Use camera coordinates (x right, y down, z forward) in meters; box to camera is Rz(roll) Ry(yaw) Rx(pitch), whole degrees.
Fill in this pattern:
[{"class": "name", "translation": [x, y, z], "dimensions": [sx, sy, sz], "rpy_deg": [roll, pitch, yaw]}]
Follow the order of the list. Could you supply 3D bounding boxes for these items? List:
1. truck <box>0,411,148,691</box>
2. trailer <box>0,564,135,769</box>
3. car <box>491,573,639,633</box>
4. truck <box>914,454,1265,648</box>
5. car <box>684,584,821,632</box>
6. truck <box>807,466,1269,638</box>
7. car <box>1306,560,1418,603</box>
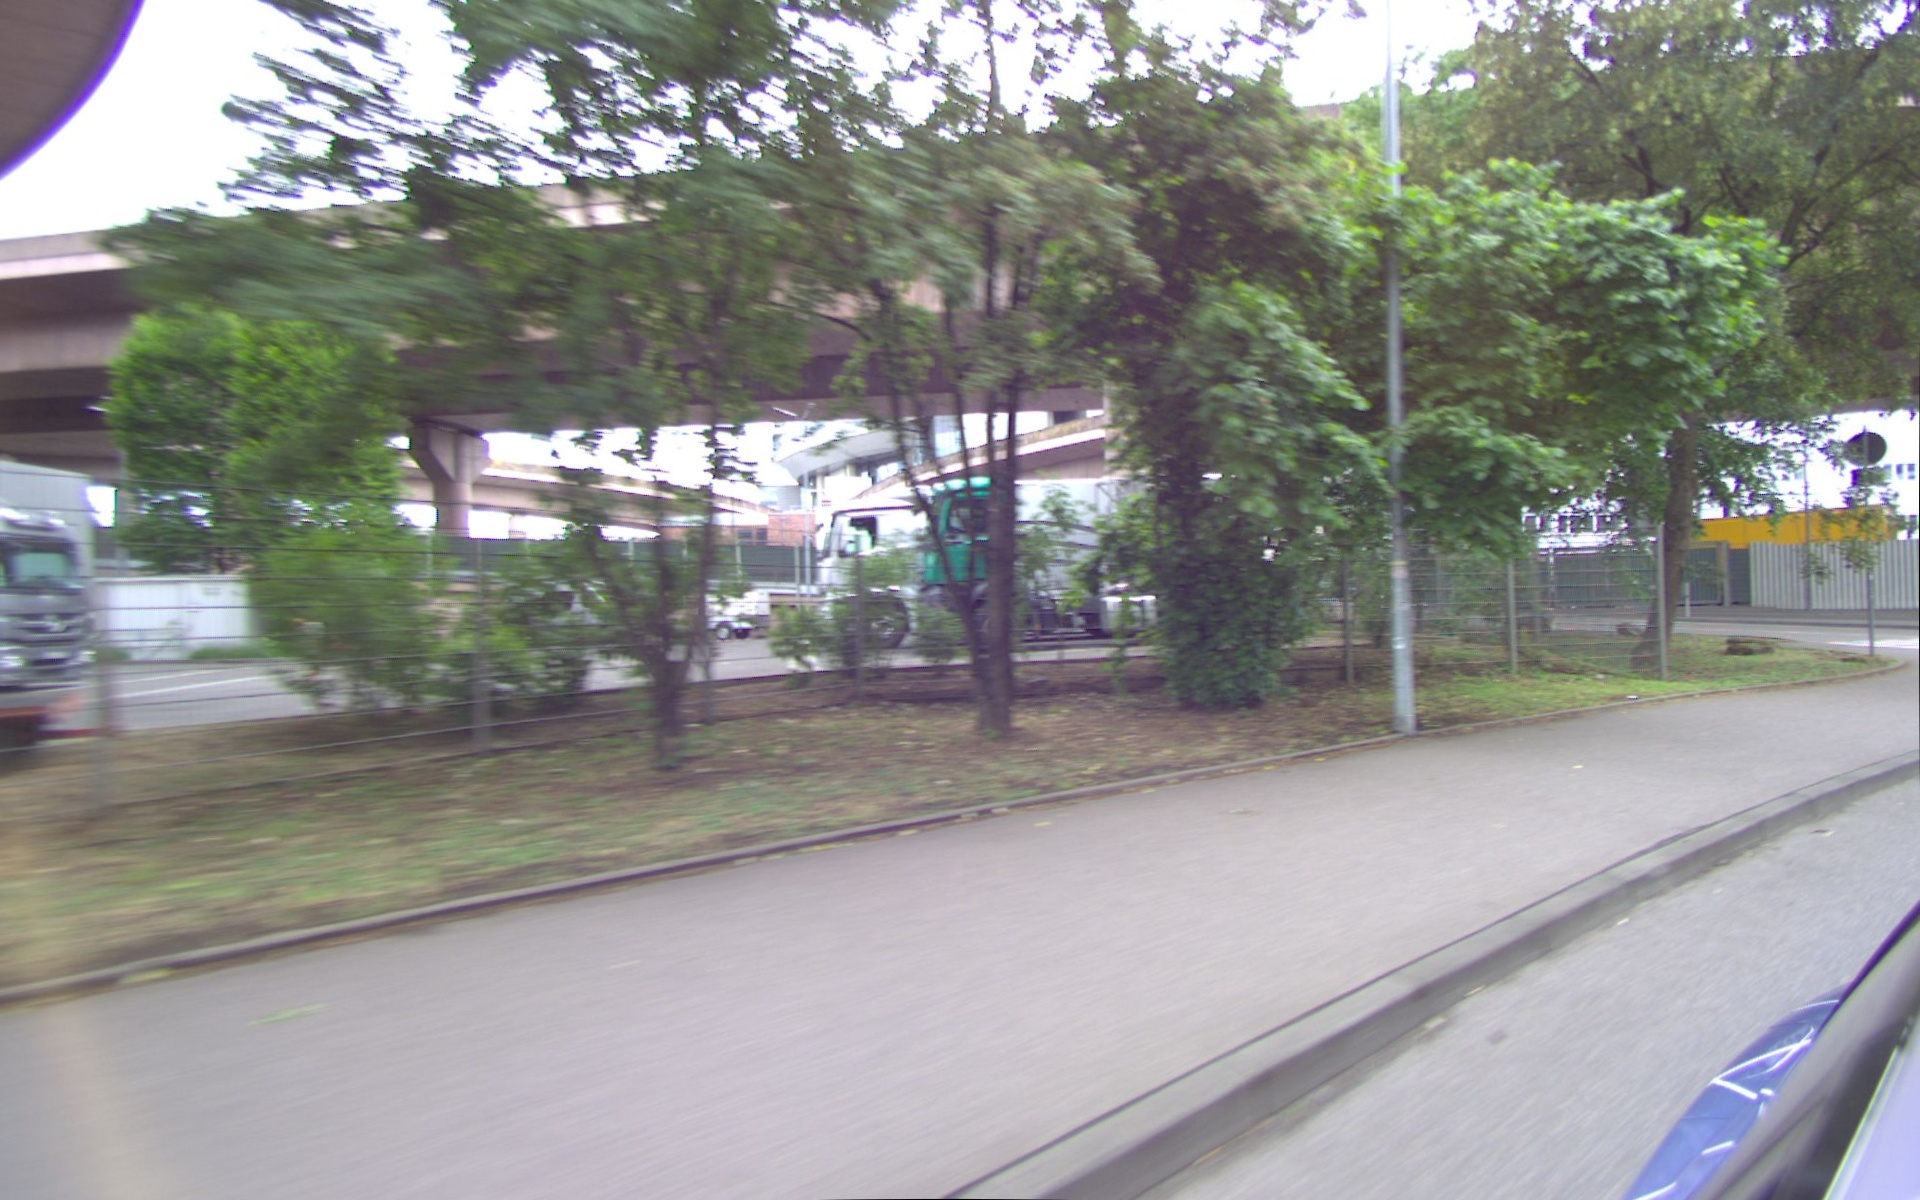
[{"class": "truck", "translation": [-20.354, -0.677, 16.935], "dimensions": [9.927, 4.422, 3.919], "rpy_deg": [-1, -1, -9]}, {"class": "trailer", "translation": [-8.074, 0.463, 6.400], "dimensions": [4.300, 1.348, 1.605], "rpy_deg": [-1, 1, -36]}, {"class": "car", "translation": [-15.768, 0.136, 40.513], "dimensions": [5.080, 2.239, 2.330], "rpy_deg": [-1, -1, 10]}, {"class": "truck", "translation": [2.348, -0.933, 19.459], "dimensions": [6.283, 3.451, 2.274], "rpy_deg": [-1, 1, -6]}, {"class": "car", "translation": [-7.981, 0.320, 39.090], "dimensions": [4.794, 1.728, 2.089], "rpy_deg": [-1, -1, 10]}, {"class": "truck", "translation": [1.665, -1.092, 22.704], "dimensions": [10.006, 3.542, 2.274], "rpy_deg": [-1, 1, -8]}, {"class": "car", "translation": [16.415, -0.795, 41.365], "dimensions": [3.971, 1.654, 1.780], "rpy_deg": [2, 3, 33]}]
